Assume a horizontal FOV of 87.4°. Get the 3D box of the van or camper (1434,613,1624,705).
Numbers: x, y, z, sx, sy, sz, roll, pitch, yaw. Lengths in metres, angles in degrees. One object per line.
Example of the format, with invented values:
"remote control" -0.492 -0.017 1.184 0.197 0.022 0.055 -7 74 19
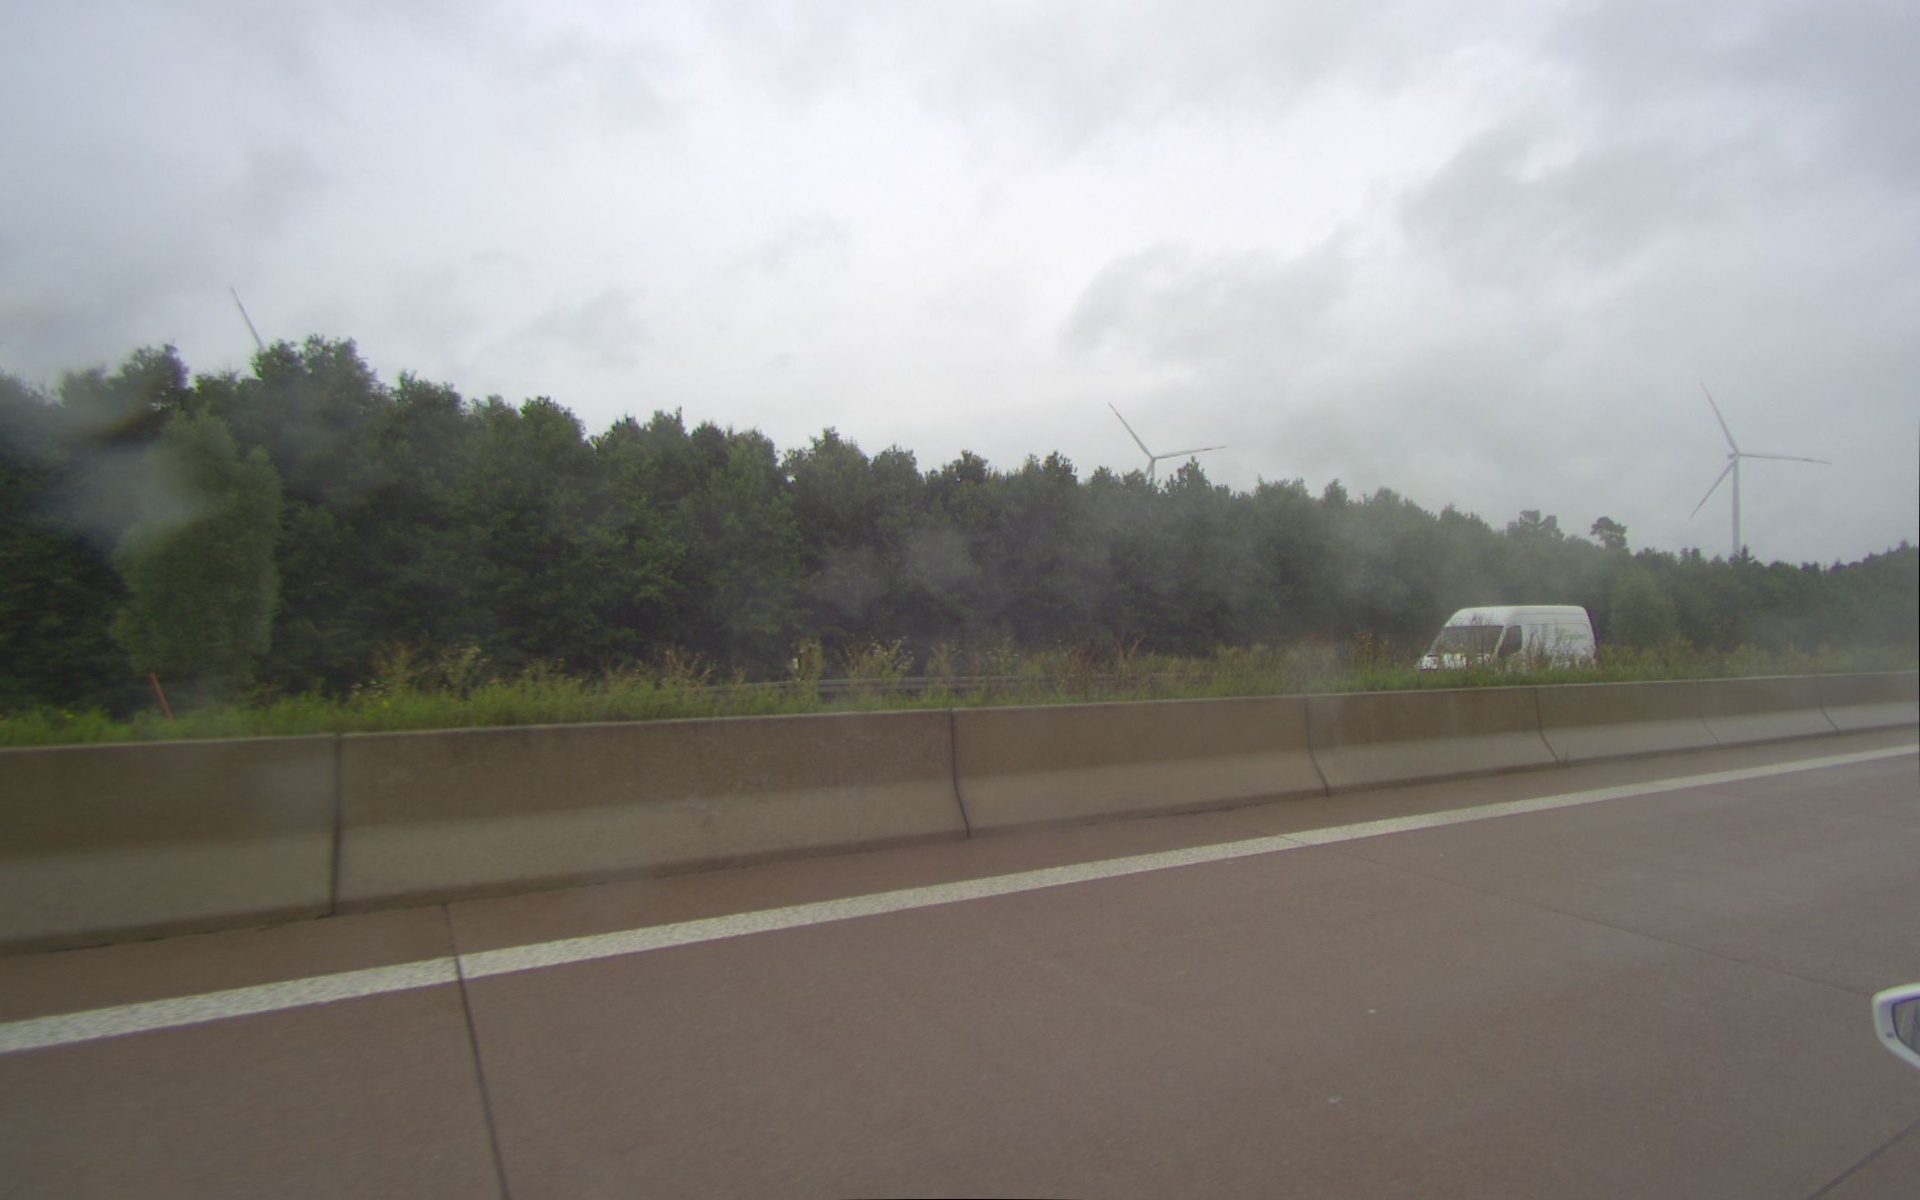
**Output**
"van or camper" 15.504 1.521 27.245 5.660 2.235 2.117 1 -1 -33
